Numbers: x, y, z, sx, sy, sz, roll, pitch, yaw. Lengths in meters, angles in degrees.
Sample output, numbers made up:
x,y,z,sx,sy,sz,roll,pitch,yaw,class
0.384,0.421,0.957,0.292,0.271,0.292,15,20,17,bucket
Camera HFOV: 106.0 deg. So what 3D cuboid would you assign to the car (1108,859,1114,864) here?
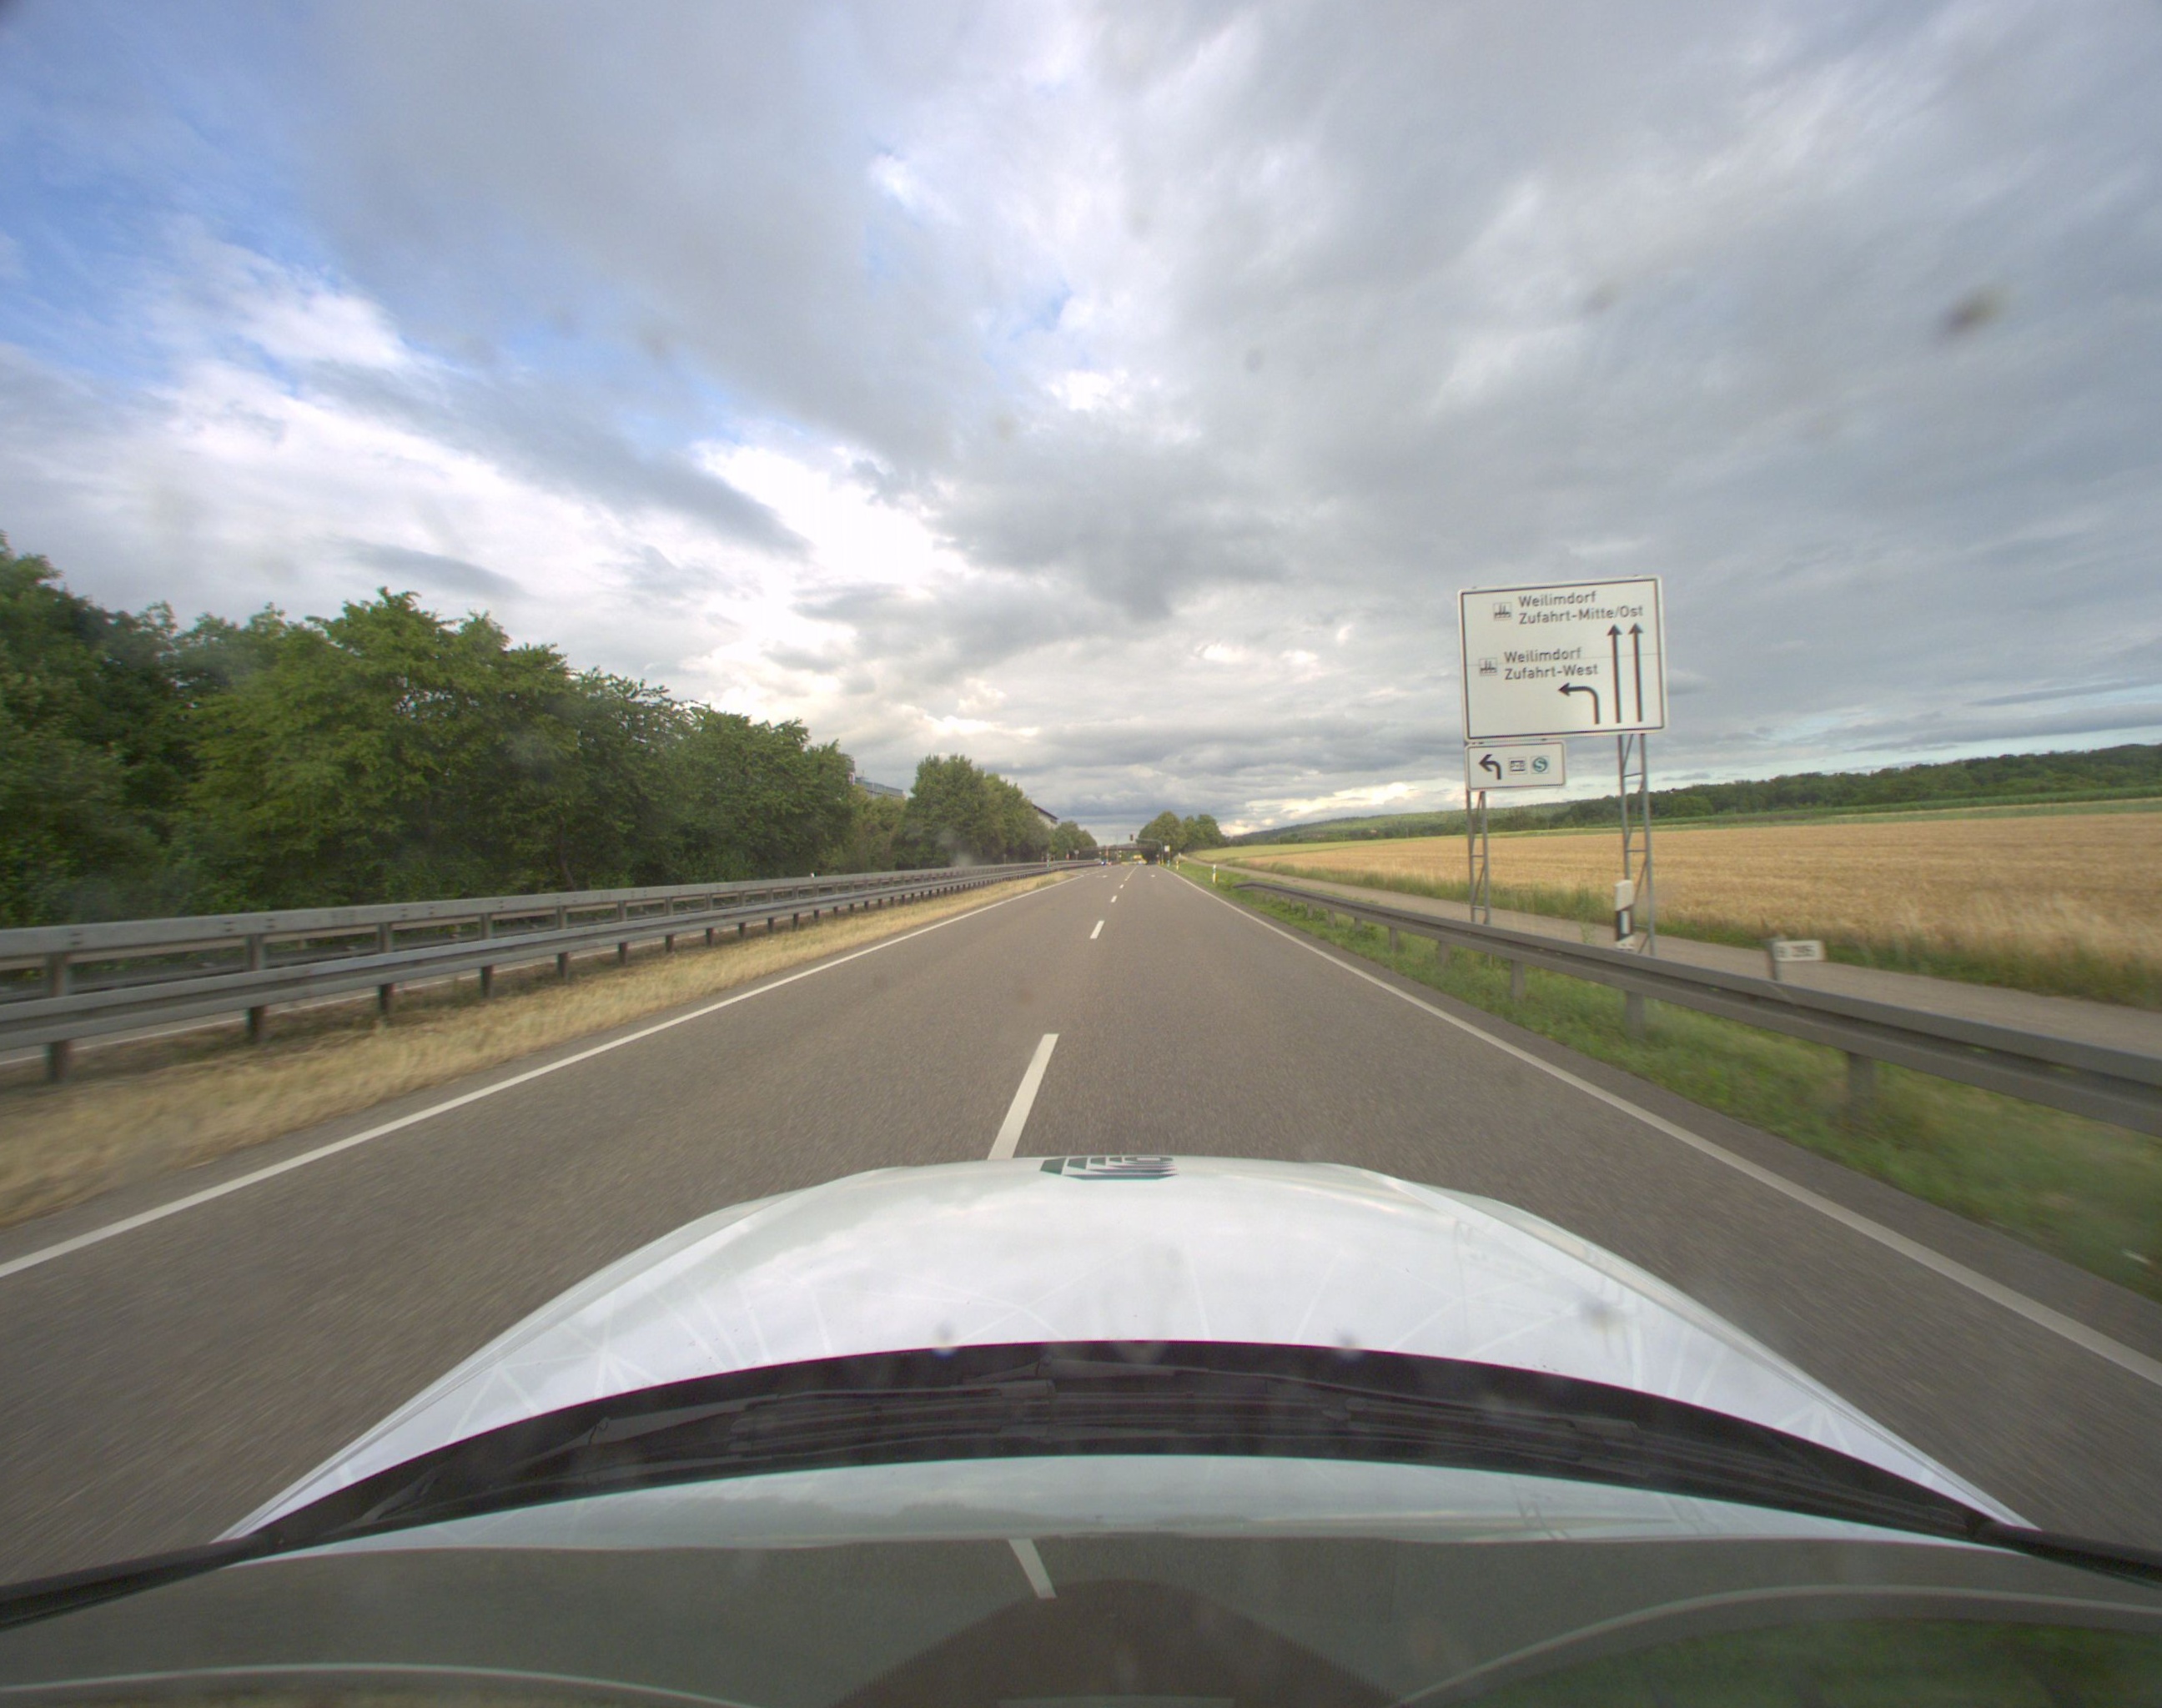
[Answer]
x,y,z,sx,sy,sz,roll,pitch,yaw,class
7.698,1.919,210.168,1.351,1.092,2.926,-2,0,5,car
